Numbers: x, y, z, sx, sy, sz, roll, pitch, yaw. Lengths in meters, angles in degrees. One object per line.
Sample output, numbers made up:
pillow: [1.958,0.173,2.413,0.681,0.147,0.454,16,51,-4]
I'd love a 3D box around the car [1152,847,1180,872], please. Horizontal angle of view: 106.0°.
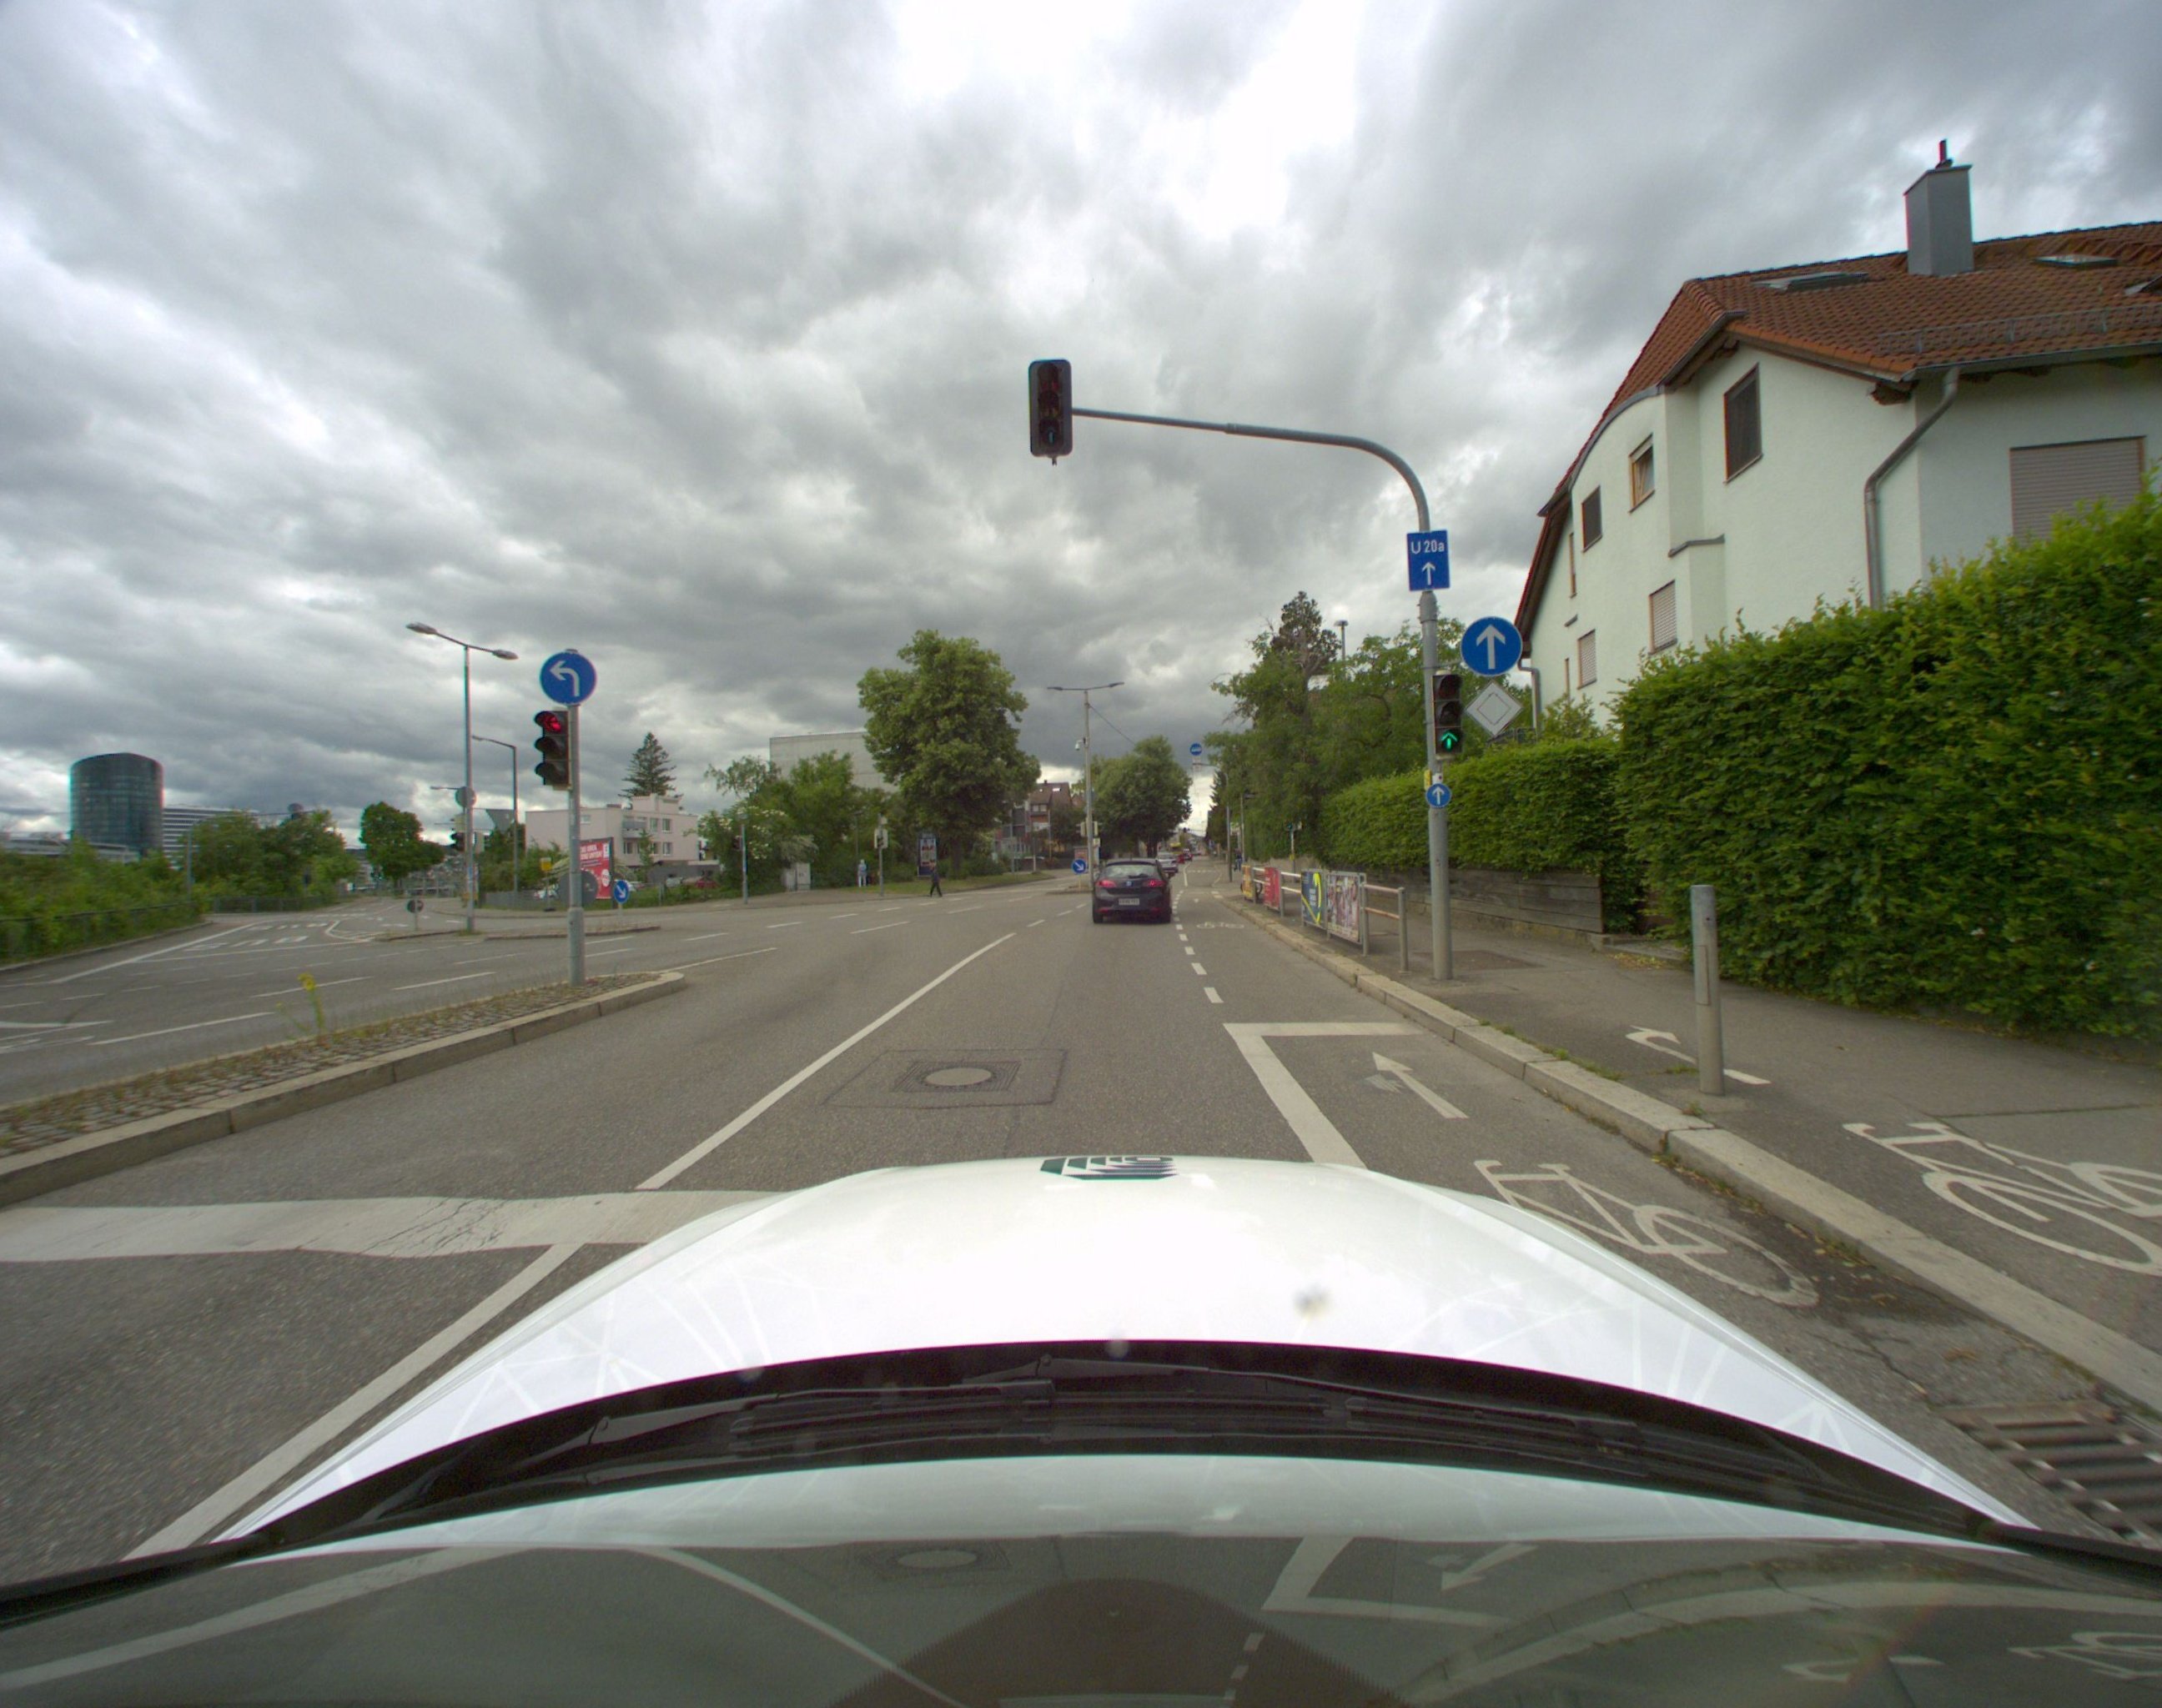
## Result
car: [6.472,0.380,61.695,1.808,1.699,4.264,-3,0,9]

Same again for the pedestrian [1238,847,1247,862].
pedestrian: [11.176,0.018,56.435,0.452,0.964,0.383,-6,0,2]

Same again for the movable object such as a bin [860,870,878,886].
movable object such as a bin: [-11.652,1.321,44.723,0.652,0.798,0.898,-2,0,5]

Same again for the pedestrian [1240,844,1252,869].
pedestrian: [10.770,0.149,53.228,0.542,1.555,0.471,-6,0,-1]

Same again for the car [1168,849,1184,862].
car: [12.200,0.185,104.378,1.932,1.481,4.260,-3,0,6]

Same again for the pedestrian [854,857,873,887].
pedestrian: [-11.734,0.966,44.032,0.652,1.522,0.925,-2,0,5]

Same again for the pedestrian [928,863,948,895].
pedestrian: [-6.433,1.116,36.605,0.772,1.407,0.599,-3,-1,-5]

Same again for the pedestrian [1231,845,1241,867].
pedestrian: [10.726,0.139,56.276,0.545,1.517,0.363,-5,0,17]

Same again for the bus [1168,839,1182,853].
bus: [21.178,-1.820,183.275,2.853,3.136,6.411,-3,0,7]

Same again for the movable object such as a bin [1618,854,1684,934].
movable object such as a bin: [7.176,0.496,10.273,0.472,0.969,0.474,-2,0,2]

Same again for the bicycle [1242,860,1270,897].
bicycle: [5.221,0.719,24.349,0.625,1.028,1.506,-2,0,6]

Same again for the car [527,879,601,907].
car: [-36.184,2.700,57.121,1.780,1.718,4.022,-3,0,23]

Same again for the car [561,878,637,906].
car: [-31.973,2.518,54.192,1.780,1.554,4.022,-3,0,23]

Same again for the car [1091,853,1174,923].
car: [1.241,0.729,19.127,1.751,1.448,3.719,0,0,5]

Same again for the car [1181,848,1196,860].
car: [17.551,-0.011,132.690,1.979,1.684,4.015,-3,0,14]

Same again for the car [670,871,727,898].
car: [-30.444,2.400,64.946,1.978,2.013,4.018,0,0,17]
